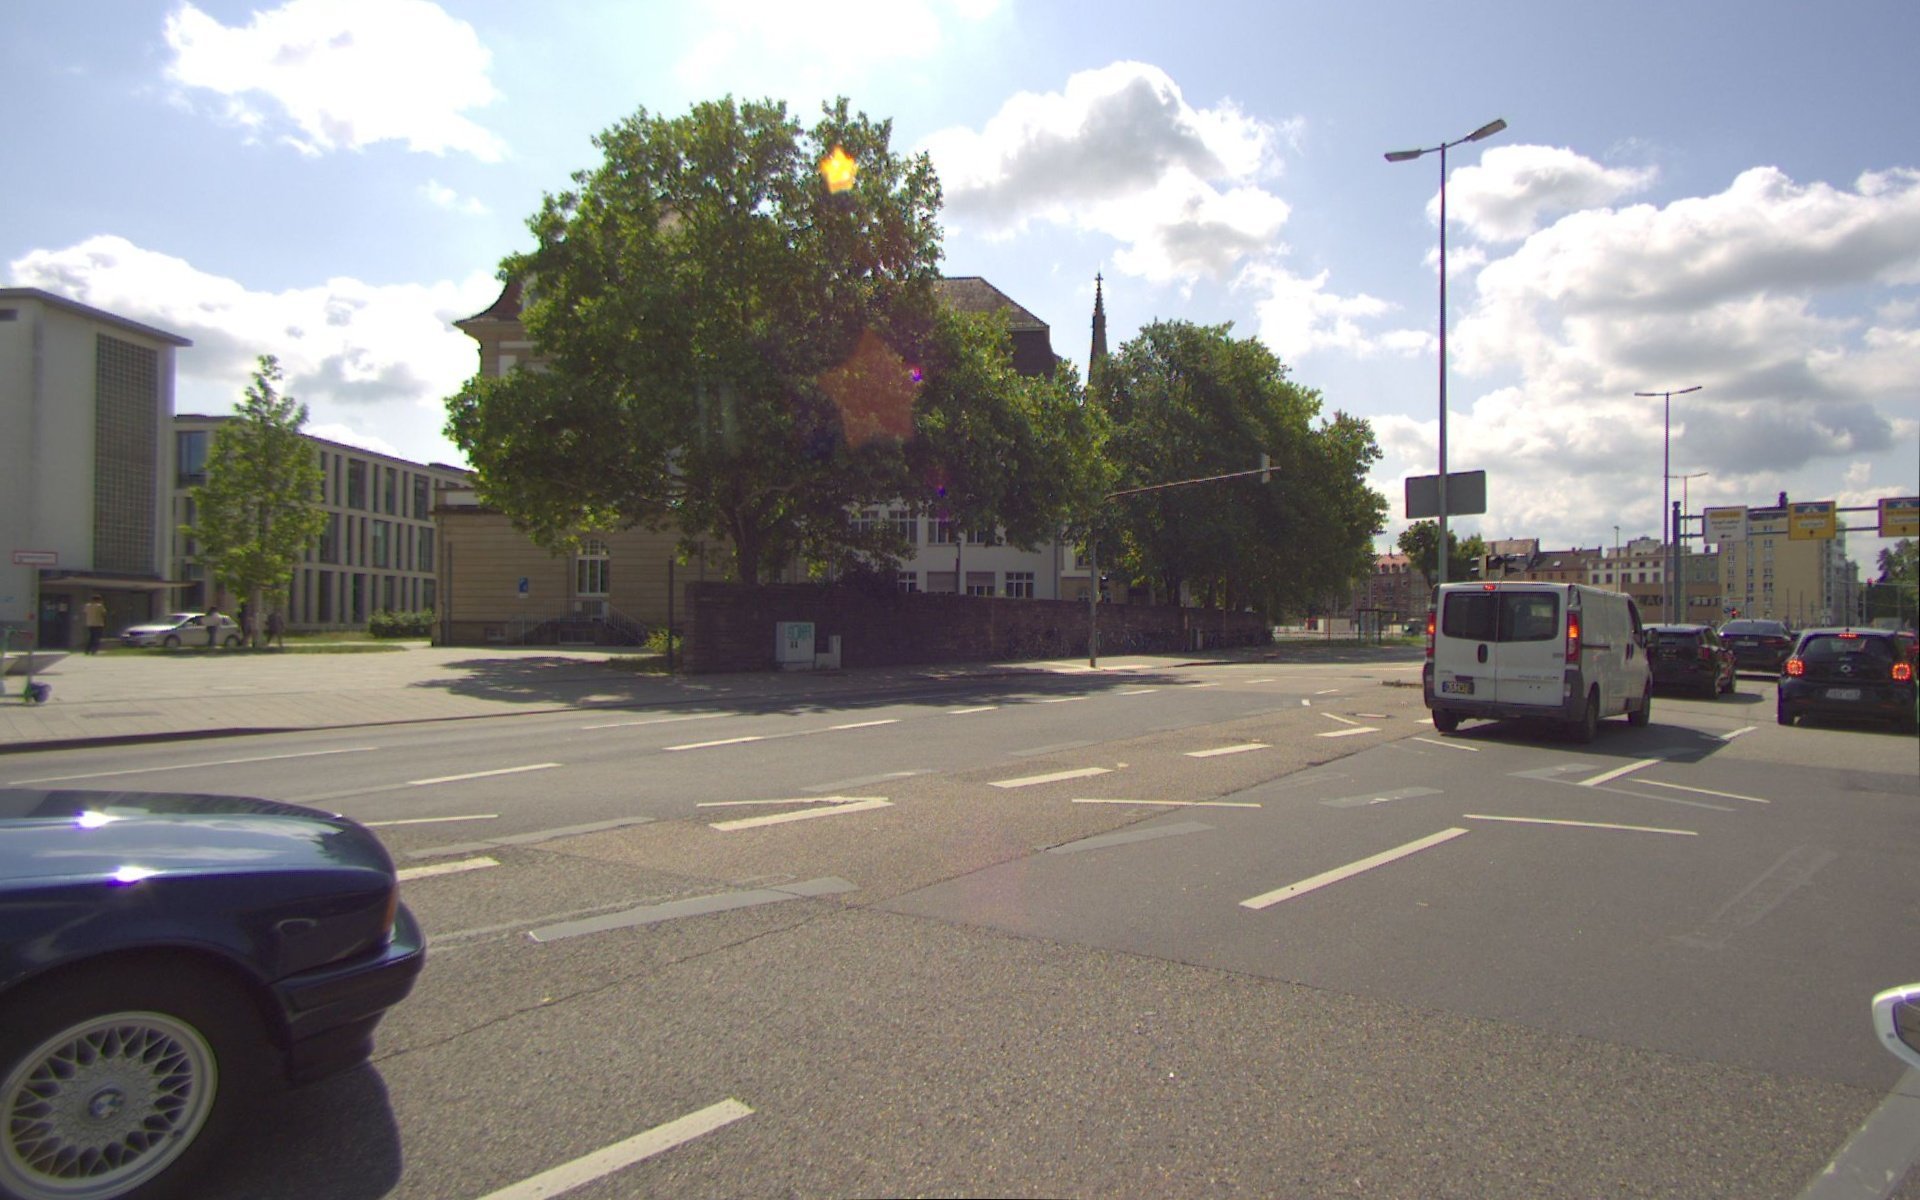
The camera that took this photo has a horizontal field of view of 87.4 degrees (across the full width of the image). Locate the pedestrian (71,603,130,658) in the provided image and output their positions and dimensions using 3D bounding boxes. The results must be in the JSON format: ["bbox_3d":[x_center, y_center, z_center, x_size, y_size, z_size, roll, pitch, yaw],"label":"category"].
[{"bbox_3d":[-26.503,0.933,31.006,1.288,1.673,1.311,1,-1,-38],"label":"pedestrian"}]

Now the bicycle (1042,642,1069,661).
[{"bbox_3d":[3.748,2.023,39.296,0.987,0.691,0.409,2,0,14],"label":"bicycle"}]

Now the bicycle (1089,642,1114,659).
[{"bbox_3d":[5.964,2.126,42.411,0.987,0.691,0.409,2,0,0],"label":"bicycle"}]

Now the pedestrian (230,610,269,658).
[{"bbox_3d":[-27.250,1.283,38.524,0.874,1.813,0.844,0,-1,9],"label":"pedestrian"}]

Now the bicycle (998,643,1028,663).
[{"bbox_3d":[1.923,1.911,36.391,0.987,0.691,0.409,2,0,14],"label":"bicycle"}]

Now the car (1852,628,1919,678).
[{"bbox_3d":[29.659,1.642,32.126,1.593,1.430,3.499,2,0,41],"label":"car"}]

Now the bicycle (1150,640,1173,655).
[{"bbox_3d":[9.739,2.309,48.538,0.987,0.691,0.409,2,0,0],"label":"bicycle"}]

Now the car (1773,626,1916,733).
[{"bbox_3d":[14.333,1.208,16.330,1.593,1.504,3.499,1,-1,41],"label":"car"}]

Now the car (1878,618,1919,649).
[{"bbox_3d":[45.603,1.600,48.625,1.593,1.430,3.499,2,0,41],"label":"car"}]

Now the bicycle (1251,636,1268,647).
[{"bbox_3d":[20.386,2.845,68.356,0.987,0.691,0.409,2,0,0],"label":"bicycle"}]

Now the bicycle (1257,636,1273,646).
[{"bbox_3d":[21.922,2.931,72.252,0.987,0.691,0.409,2,0,0],"label":"bicycle"}]

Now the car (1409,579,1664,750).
[{"bbox_3d":[8.309,0.792,14.214,1.985,1.981,5.164,1,-1,43],"label":"car"}]

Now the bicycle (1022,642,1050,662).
[{"bbox_3d":[2.895,1.985,38.199,0.987,0.691,0.409,2,0,14],"label":"bicycle"}]

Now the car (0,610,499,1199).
[{"bbox_3d":[-3.480,0.718,1.741,1.673,1.405,4.589,1,0,42],"label":"car"}]

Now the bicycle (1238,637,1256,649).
[{"bbox_3d":[18.324,2.738,64.127,0.987,0.691,0.409,2,0,0],"label":"bicycle"}]

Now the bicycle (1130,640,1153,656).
[{"bbox_3d":[8.441,2.248,46.645,0.987,0.691,0.409,2,0,0],"label":"bicycle"}]

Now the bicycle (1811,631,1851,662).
[{"bbox_3d":[61.786,3.264,71.271,1.969,2.040,3.982,2,-1,39],"label":"bicycle"}]

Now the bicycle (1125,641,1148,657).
[{"bbox_3d":[8.108,2.232,46.119,0.987,0.691,0.409,2,0,0],"label":"bicycle"}]

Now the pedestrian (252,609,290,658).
[{"bbox_3d":[-26.354,1.274,38.419,0.848,1.813,0.844,0,-1,9],"label":"pedestrian"}]

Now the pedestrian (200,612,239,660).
[{"bbox_3d":[-28.149,1.360,38.196,0.798,1.813,0.844,0,-1,9],"label":"pedestrian"}]

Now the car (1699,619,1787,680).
[{"bbox_3d":[23.140,1.414,29.623,1.806,1.622,4.371,1,-1,41],"label":"car"}]

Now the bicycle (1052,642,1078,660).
[{"bbox_3d":[4.234,2.050,40.403,0.987,0.691,0.409,2,0,14],"label":"bicycle"}]

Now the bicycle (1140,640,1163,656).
[{"bbox_3d":[9.053,2.276,47.439,0.987,0.691,0.409,2,0,0],"label":"bicycle"}]

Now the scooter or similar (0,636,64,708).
[{"bbox_3d":[-14.619,1.113,15.632,1.128,1.081,0.403,0,-1,12],"label":"scooter or similar"}]

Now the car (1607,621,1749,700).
[{"bbox_3d":[16.251,1.305,22.620,1.995,1.550,4.859,1,-1,43],"label":"car"}]

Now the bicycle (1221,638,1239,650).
[{"bbox_3d":[16.005,2.619,59.536,0.987,0.691,0.409,2,0,0],"label":"bicycle"}]

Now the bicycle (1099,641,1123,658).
[{"bbox_3d":[6.565,2.159,43.742,0.987,0.691,0.409,2,0,0],"label":"bicycle"}]

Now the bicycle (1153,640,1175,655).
[{"bbox_3d":[9.995,2.321,49.290,0.987,0.691,0.409,2,0,0],"label":"bicycle"}]

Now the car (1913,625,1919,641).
[{"bbox_3d":[121.120,4.158,126.225,1.924,1.989,3.925,2,-1,45],"label":"car"}]

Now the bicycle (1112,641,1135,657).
[{"bbox_3d":[7.382,2.200,45.337,0.987,0.691,0.409,2,0,0],"label":"bicycle"}]

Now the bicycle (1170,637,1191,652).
[{"bbox_3d":[11.308,2.286,51.470,0.987,0.691,0.409,2,0,0],"label":"bicycle"}]

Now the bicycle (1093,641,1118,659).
[{"bbox_3d":[6.220,2.141,43.053,0.987,0.691,0.409,2,0,0],"label":"bicycle"}]

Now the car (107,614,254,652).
[{"bbox_3d":[-30.642,1.257,39.685,1.959,1.323,4.497,2,0,7],"label":"car"}]

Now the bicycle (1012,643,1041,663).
[{"bbox_3d":[2.474,1.964,37.418,0.987,0.691,0.409,2,0,14],"label":"bicycle"}]
